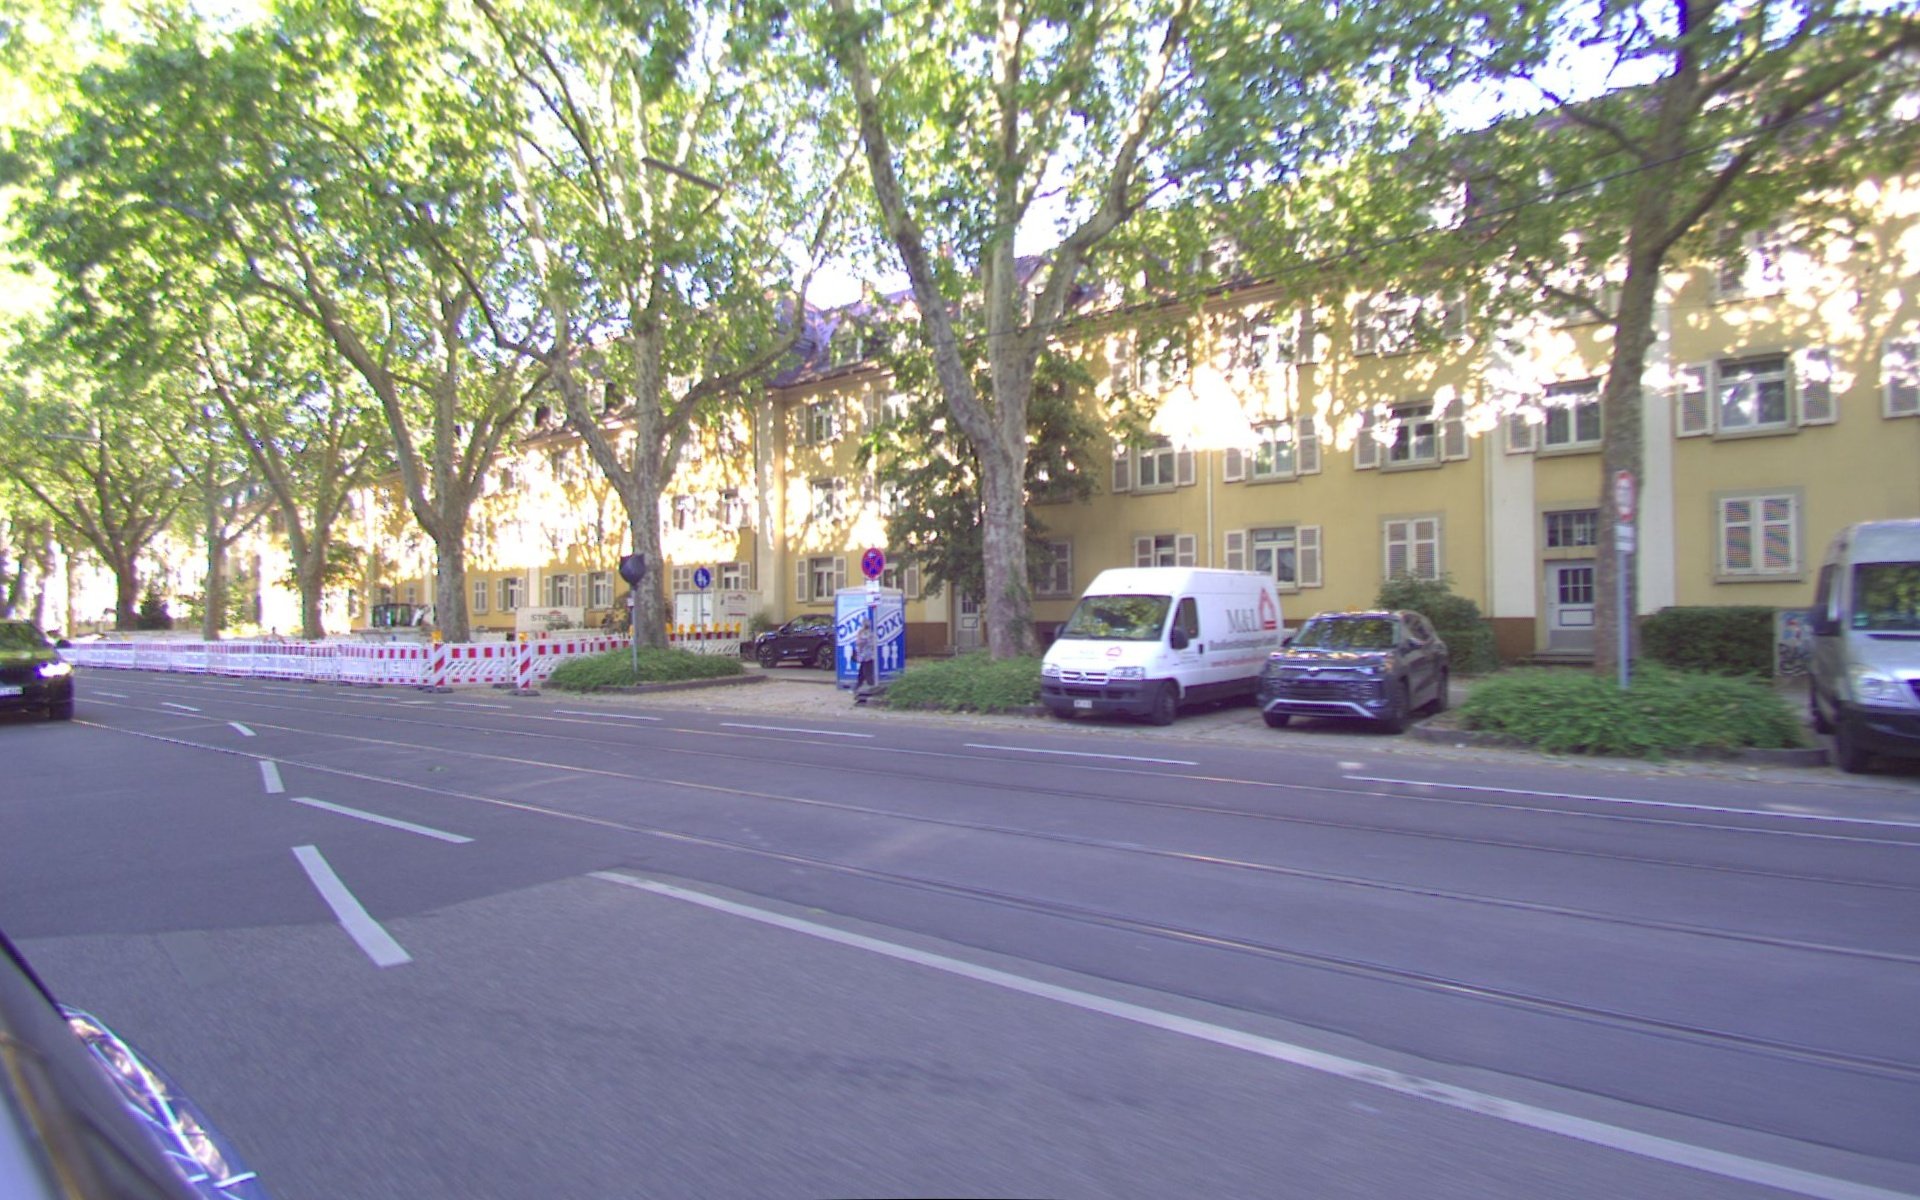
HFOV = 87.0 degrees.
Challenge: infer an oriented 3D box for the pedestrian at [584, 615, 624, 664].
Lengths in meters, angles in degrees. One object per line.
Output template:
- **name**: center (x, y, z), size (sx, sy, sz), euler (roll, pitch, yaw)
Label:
- **pedestrian**: center (-15.079, 1.651, 42.846), size (1.232, 2.029, 1.086), euler (-2, -2, 35)

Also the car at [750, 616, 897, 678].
- **car**: center (-3.998, 1.332, 29.273), size (4.218, 1.613, 1.807), euler (-2, -1, 40)

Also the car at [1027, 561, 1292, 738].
- **car**: center (3.473, 0.756, 16.585), size (2.022, 2.394, 5.544), euler (-2, -2, 37)

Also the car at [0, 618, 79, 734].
- **car**: center (-16.395, 1.227, 16.905), size (4.472, 1.756, 1.918), euler (-2, -1, 41)

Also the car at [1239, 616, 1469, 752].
- **car**: center (5.859, 1.077, 14.706), size (1.966, 1.643, 4.521), euler (-2, -2, 37)

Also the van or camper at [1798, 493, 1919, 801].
- **van or camper**: center (10.701, 0.405, 10.918), size (2.226, 2.697, 6.053), euler (-2, -1, 37)

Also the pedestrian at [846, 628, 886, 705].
- **pedestrian**: center (-1.971, 1.378, 21.200), size (0.709, 1.585, 0.595), euler (-1, -2, 10)
